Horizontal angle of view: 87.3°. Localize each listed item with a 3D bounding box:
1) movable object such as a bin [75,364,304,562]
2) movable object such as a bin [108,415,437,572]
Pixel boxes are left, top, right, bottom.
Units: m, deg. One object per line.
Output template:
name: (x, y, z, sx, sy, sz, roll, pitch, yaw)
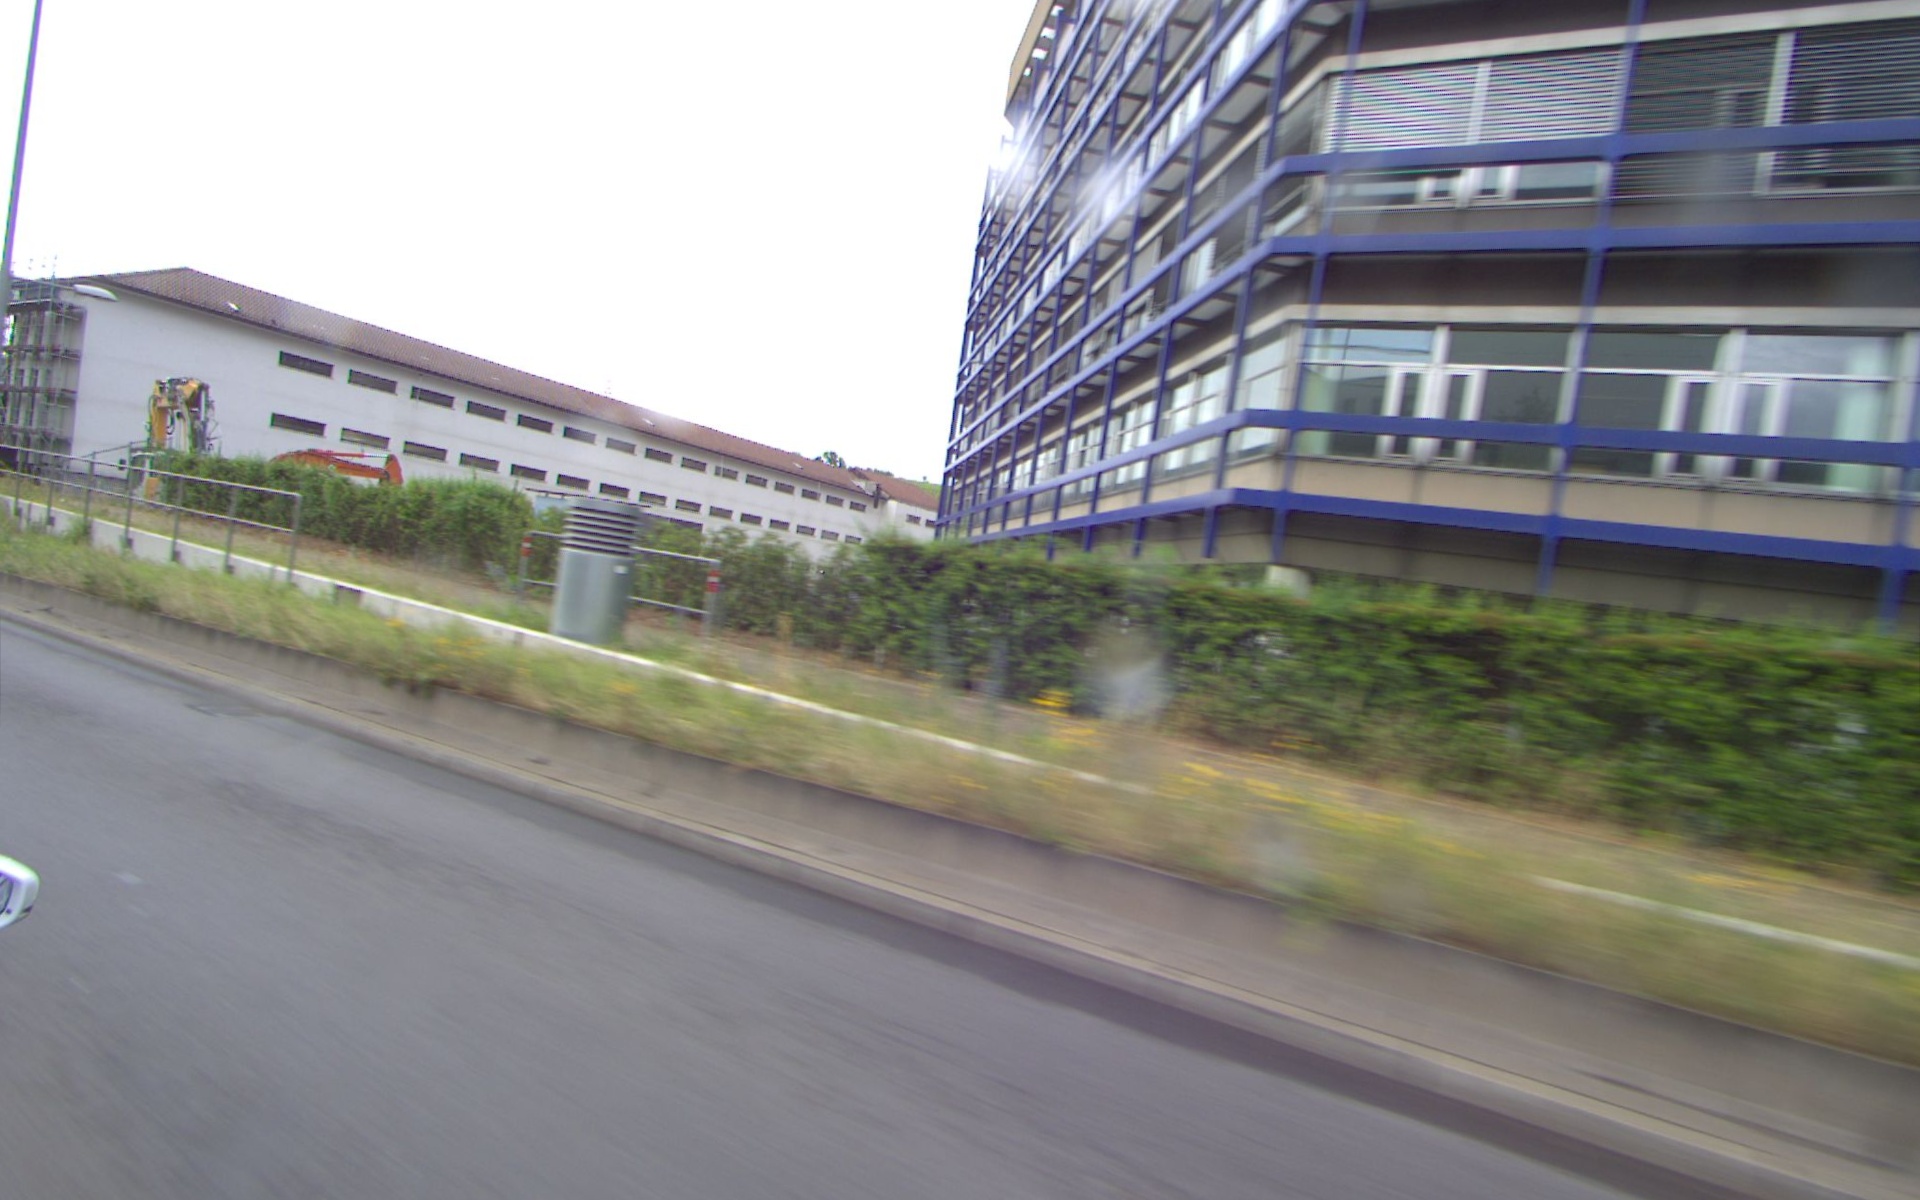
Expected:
movable object such as a bin: (-26.978, -4.647, 35.069, 8.626, 5.749, 3.294, 6, -2, 35)
movable object such as a bin: (-32.023, -4.707, 47.878, 3.727, 5.325, 12.155, 6, -1, 32)
